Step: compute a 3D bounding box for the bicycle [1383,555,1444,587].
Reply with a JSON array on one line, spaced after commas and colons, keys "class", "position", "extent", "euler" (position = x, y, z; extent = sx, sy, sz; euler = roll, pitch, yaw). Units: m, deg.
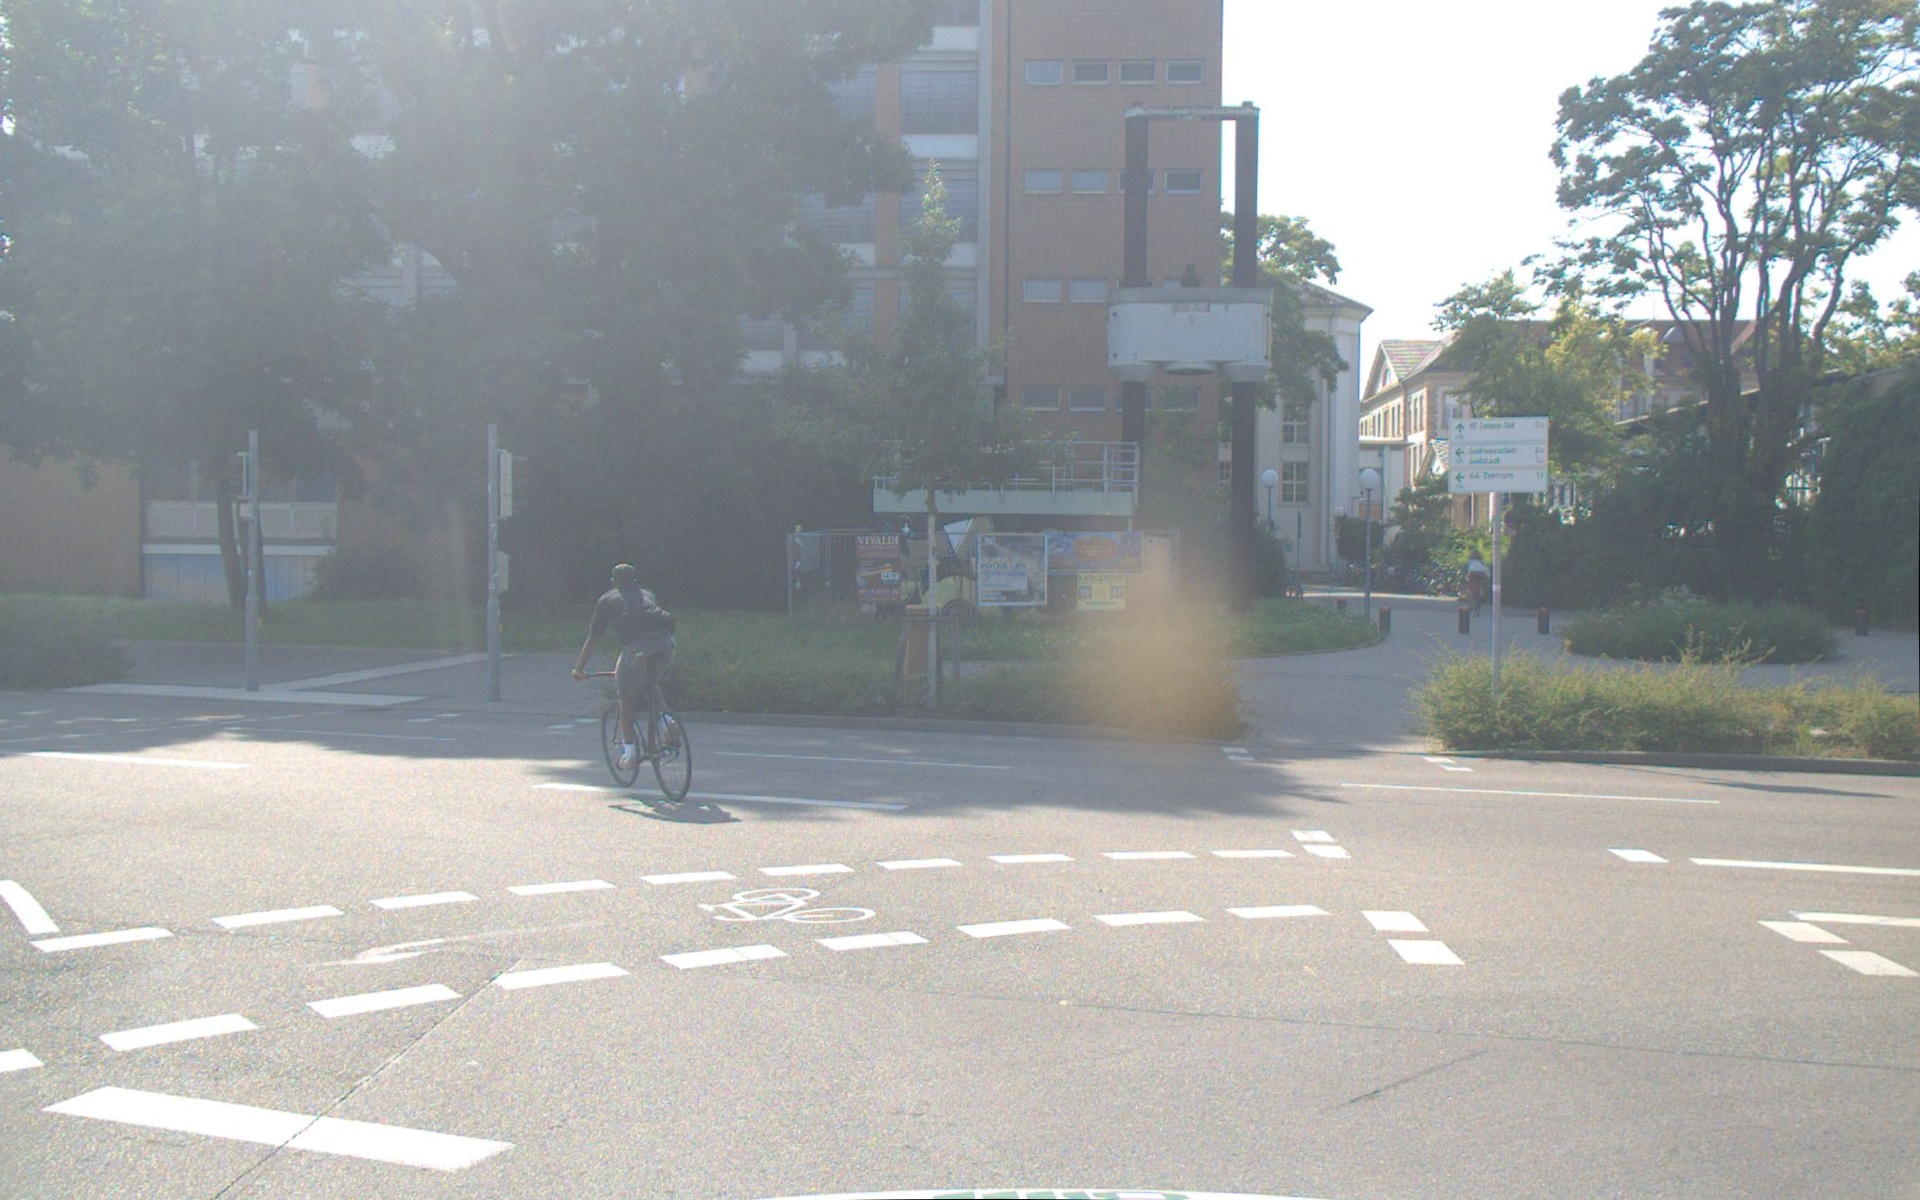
[{"class": "bicycle", "position": [19.049, -1.218, 69.471], "extent": [2.375, 1.261, 0.721], "euler": [2, 2, 9]}]

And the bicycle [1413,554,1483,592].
[{"class": "bicycle", "position": [18.216, -1.012, 61.757], "extent": [2.375, 1.341, 0.721], "euler": [2, 2, 9]}]

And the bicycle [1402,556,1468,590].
[{"class": "bicycle", "position": [18.772, -1.070, 65.398], "extent": [2.375, 1.244, 0.721], "euler": [2, 2, 9]}]

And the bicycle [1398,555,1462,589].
[{"class": "bicycle", "position": [18.943, -1.132, 66.661], "extent": [2.375, 1.244, 0.721], "euler": [2, 2, 9]}]

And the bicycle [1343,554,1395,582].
[{"class": "bicycle", "position": [20.039, -1.571, 81.073], "extent": [2.375, 1.302, 0.721], "euler": [2, 2, 9]}]

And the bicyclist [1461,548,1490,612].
[{"class": "bicyclist", "position": [13.247, -0.514, 42.522], "extent": [0.636, 1.629, 0.921], "euler": [1, 1, 13]}]

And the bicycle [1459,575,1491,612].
[{"class": "bicycle", "position": [13.226, -0.170, 42.521], "extent": [0.659, 0.895, 1.402], "euler": [1, 2, 12]}]

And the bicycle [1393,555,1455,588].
[{"class": "bicycle", "position": [19.245, -1.178, 68.593], "extent": [2.375, 1.255, 0.721], "euler": [2, 2, 9]}]

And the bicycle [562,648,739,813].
[{"class": "bicycle", "position": [-2.353, 0.919, 12.355], "extent": [0.762, 0.993, 2.132], "euler": [-1, 2, -26]}]

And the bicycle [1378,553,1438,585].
[{"class": "bicycle", "position": [19.511, -1.340, 72.059], "extent": [2.375, 1.304, 0.721], "euler": [2, 2, 9]}]

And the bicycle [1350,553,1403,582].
[{"class": "bicycle", "position": [20.147, -1.564, 79.995], "extent": [2.375, 1.284, 0.721], "euler": [2, 2, 9]}]

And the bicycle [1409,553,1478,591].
[{"class": "bicycle", "position": [18.372, -1.068, 62.883], "extent": [2.375, 1.341, 0.721], "euler": [2, 2, 9]}]

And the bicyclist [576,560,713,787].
[{"class": "bicyclist", "position": [-2.366, 0.511, 12.345], "extent": [0.762, 1.606, 0.982], "euler": [-1, 1, -26]}]

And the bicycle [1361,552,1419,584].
[{"class": "bicycle", "position": [19.020, -1.411, 73.249], "extent": [2.375, 1.304, 0.721], "euler": [2, 2, 9]}]

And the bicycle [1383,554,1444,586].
[{"class": "bicycle", "position": [19.326, -1.280, 70.492], "extent": [2.375, 1.250, 0.721], "euler": [2, 2, 9]}]
